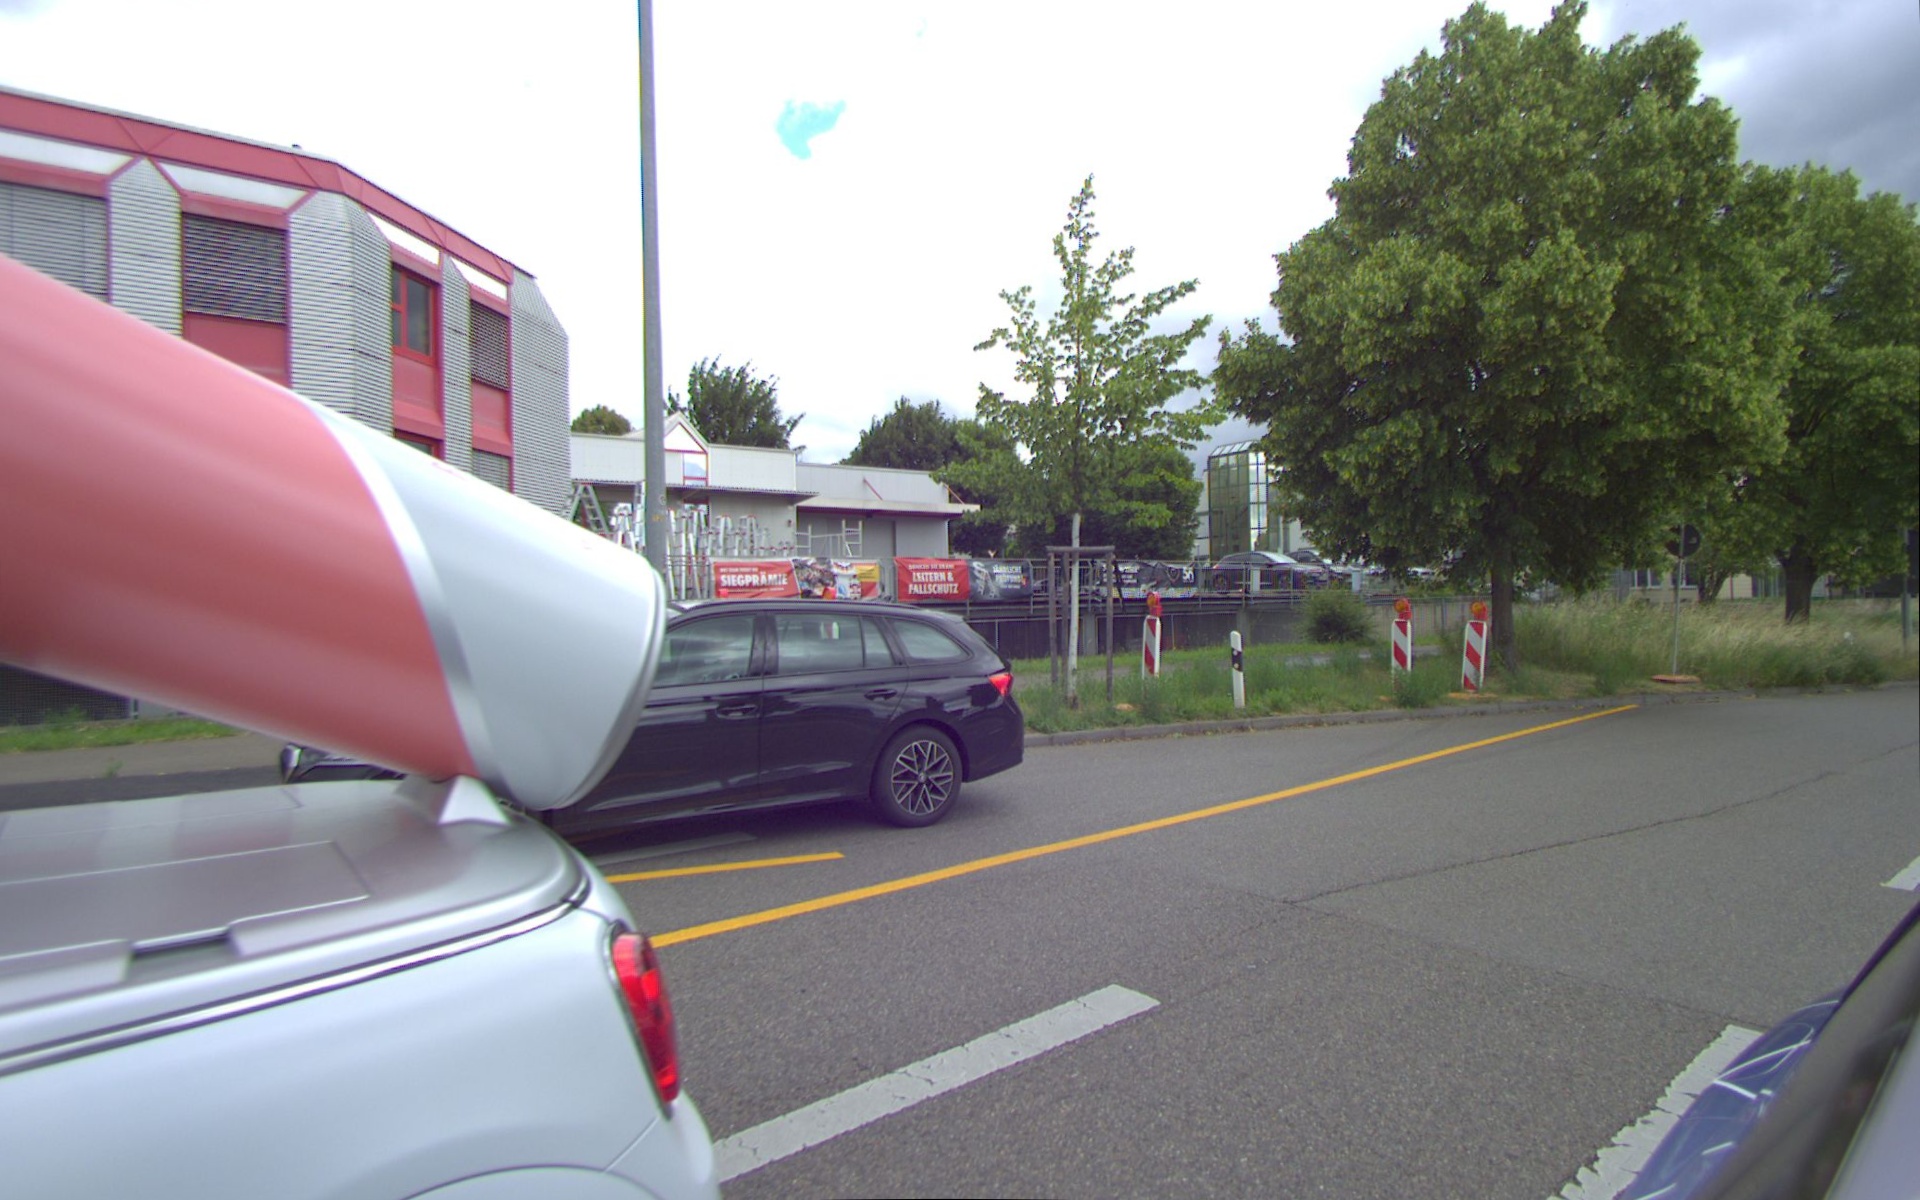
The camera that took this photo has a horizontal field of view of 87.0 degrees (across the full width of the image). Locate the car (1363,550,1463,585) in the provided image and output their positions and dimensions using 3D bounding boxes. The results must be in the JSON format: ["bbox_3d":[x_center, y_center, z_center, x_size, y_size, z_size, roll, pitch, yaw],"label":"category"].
[{"bbox_3d":[20.847,-1.483,46.732,1.721,1.501,3.941,0,0,-33],"label":"car"}]

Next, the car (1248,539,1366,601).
[{"bbox_3d":[12.246,-1.017,35.901,1.611,1.984,3.768,2,-2,-33],"label":"car"}]

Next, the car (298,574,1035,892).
[{"bbox_3d":[-1.748,0.607,6.547,4.195,1.451,1.843,0,0,-33],"label":"car"}]

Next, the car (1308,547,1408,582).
[{"bbox_3d":[17.156,-1.504,43.785,1.721,1.381,3.769,0,0,-33],"label":"car"}]

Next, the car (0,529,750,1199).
[{"bbox_3d":[-2.240,0.668,1.024,3.634,1.475,1.720,-1,0,-43],"label":"car"}]

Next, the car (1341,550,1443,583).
[{"bbox_3d":[19.277,-1.466,45.301,1.721,1.385,3.941,0,0,-33],"label":"car"}]
